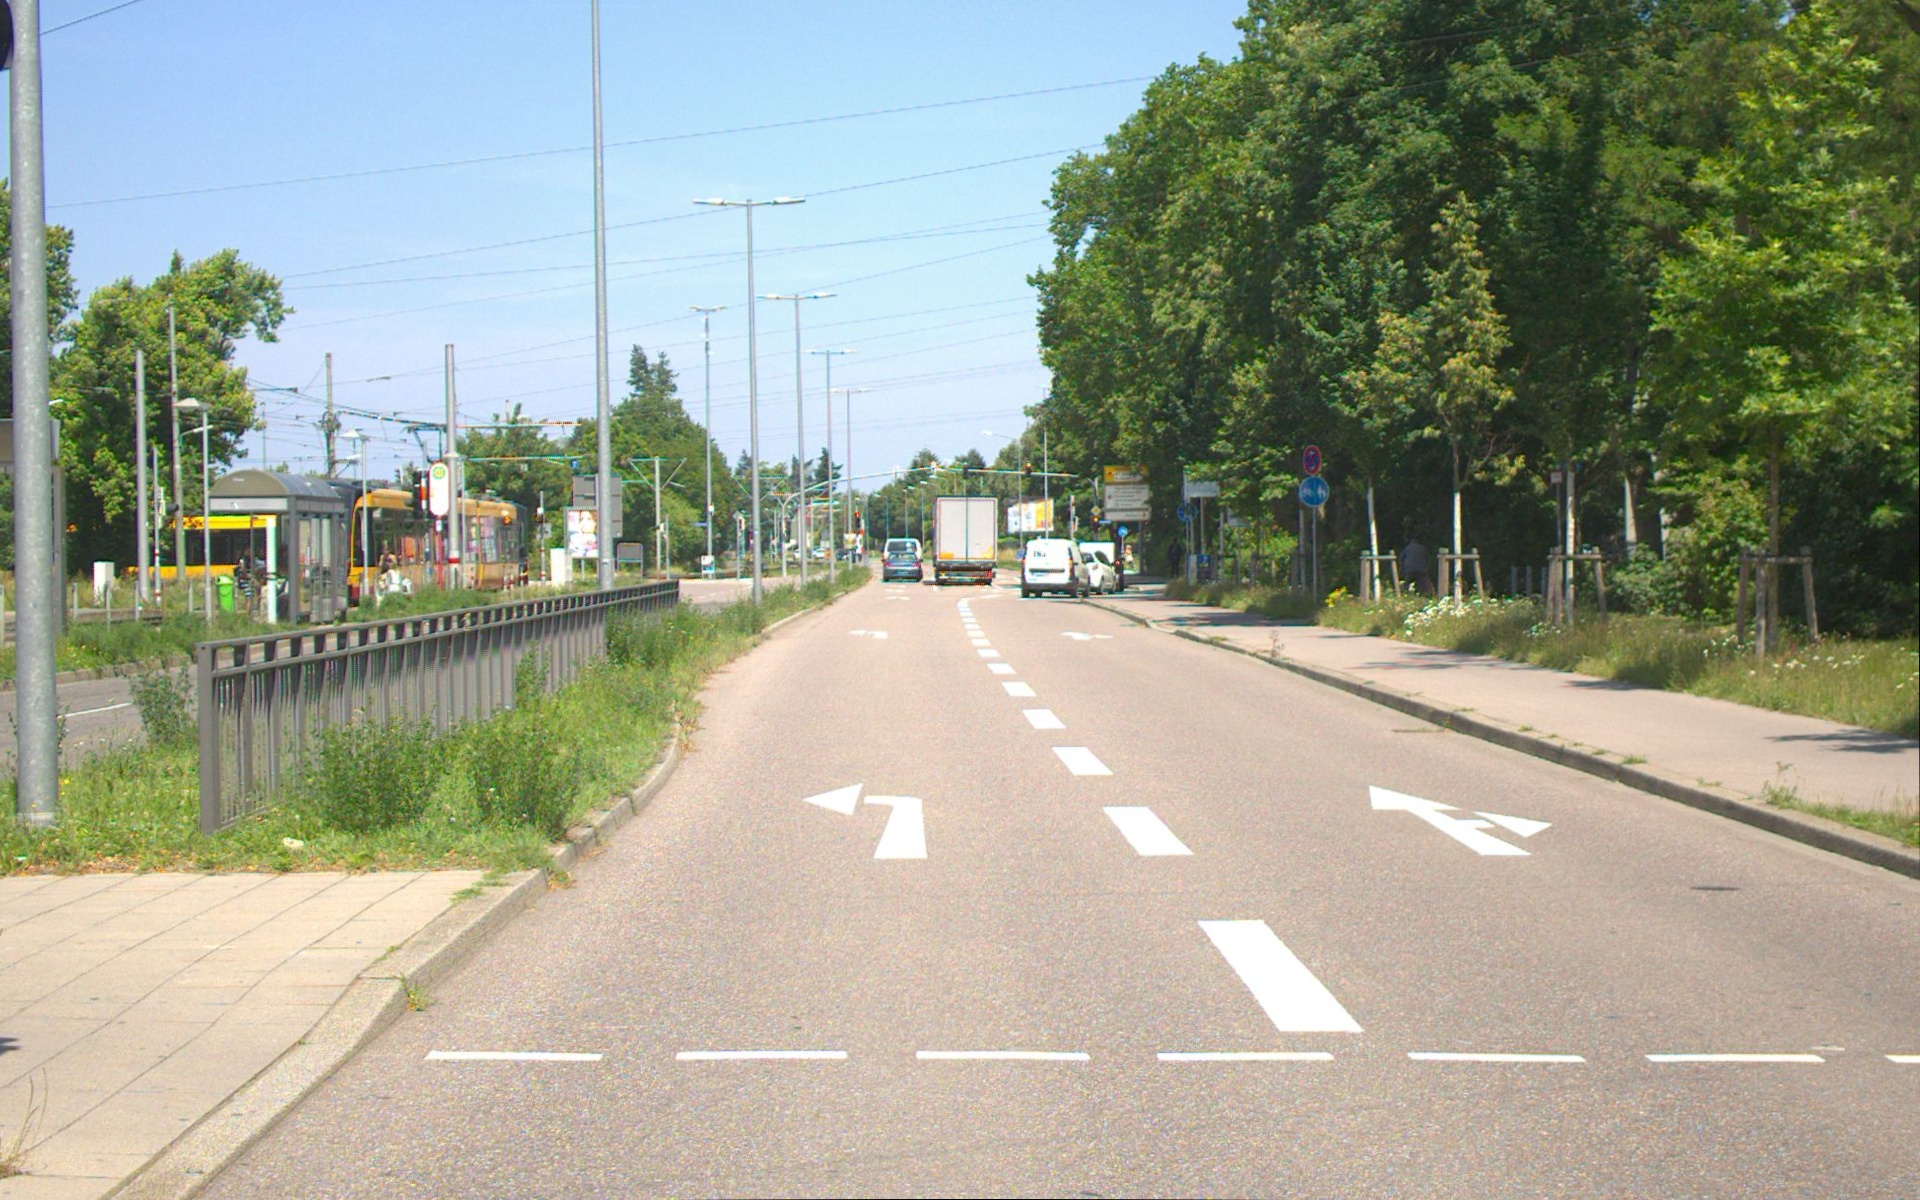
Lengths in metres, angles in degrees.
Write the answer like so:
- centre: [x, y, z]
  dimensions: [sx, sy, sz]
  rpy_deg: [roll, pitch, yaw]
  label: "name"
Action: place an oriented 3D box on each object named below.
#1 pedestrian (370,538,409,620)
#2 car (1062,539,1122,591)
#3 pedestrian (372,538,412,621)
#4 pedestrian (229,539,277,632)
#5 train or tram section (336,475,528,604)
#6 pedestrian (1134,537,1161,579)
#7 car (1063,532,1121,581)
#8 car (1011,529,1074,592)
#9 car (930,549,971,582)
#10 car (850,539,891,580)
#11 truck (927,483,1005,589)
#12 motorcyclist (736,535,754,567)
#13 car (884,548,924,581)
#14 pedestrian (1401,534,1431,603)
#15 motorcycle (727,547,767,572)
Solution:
- centre: [-14.095, -0.525, 84.954]
  dimensions: [0.815, 2.007, 0.938]
  rpy_deg: [0, 1, -1]
  label: "pedestrian"
- centre: [4.298, -1.151, 112.450]
  dimensions: [1.779, 1.663, 4.000]
  rpy_deg: [0, 1, -1]
  label: "car"
- centre: [-13.817, -0.509, 83.660]
  dimensions: [0.815, 2.007, 0.938]
  rpy_deg: [0, 1, -1]
  label: "pedestrian"
- centre: [-14.258, -0.303, 69.308]
  dimensions: [0.785, 1.862, 0.817]
  rpy_deg: [0, 1, -1]
  label: "pedestrian"
- centre: [-17.320, -2.036, 115.457]
  dimensions: [2.957, 3.736, 30.036]
  rpy_deg: [0, 1, -2]
  label: "train or tram section"
- centre: [8.917, -2.001, 163.613]
  dimensions: [1.185, 2.007, 1.214]
  rpy_deg: [0, 1, 0]
  label: "pedestrian"
- centre: [4.548, -1.515, 118.794]
  dimensions: [1.779, 1.663, 4.000]
  rpy_deg: [0, 1, -1]
  label: "car"
- centre: [2.510, -1.223, 105.520]
  dimensions: [1.779, 1.897, 4.000]
  rpy_deg: [0, 1, -1]
  label: "car"
- centre: [-0.432, -1.557, 153.623]
  dimensions: [1.811, 1.459, 4.000]
  rpy_deg: [0, 1, -1]
  label: "car"
- centre: [-4.551, -2.074, 175.171]
  dimensions: [1.993, 2.007, 4.000]
  rpy_deg: [0, 1, -1]
  label: "car"
- centre: [0.214, -2.719, 146.058]
  dimensions: [3.205, 4.344, 6.561]
  rpy_deg: [0, 1, -1]
  label: "truck"
- centre: [-12.379, -2.824, 198.267]
  dimensions: [0.924, 1.829, 0.850]
  rpy_deg: [-1, 1, -12]
  label: "motorcyclist"
- centre: [-2.556, -1.651, 157.890]
  dimensions: [1.811, 1.459, 4.000]
  rpy_deg: [0, 1, -1]
  label: "car"
- centre: [9.566, -0.659, 72.125]
  dimensions: [0.604, 1.433, 0.556]
  rpy_deg: [0, 1, 6]
  label: "pedestrian"
- centre: [-12.271, -2.341, 198.270]
  dimensions: [2.182, 1.402, 0.848]
  rpy_deg: [-1, 1, -11]
  label: "motorcycle"
